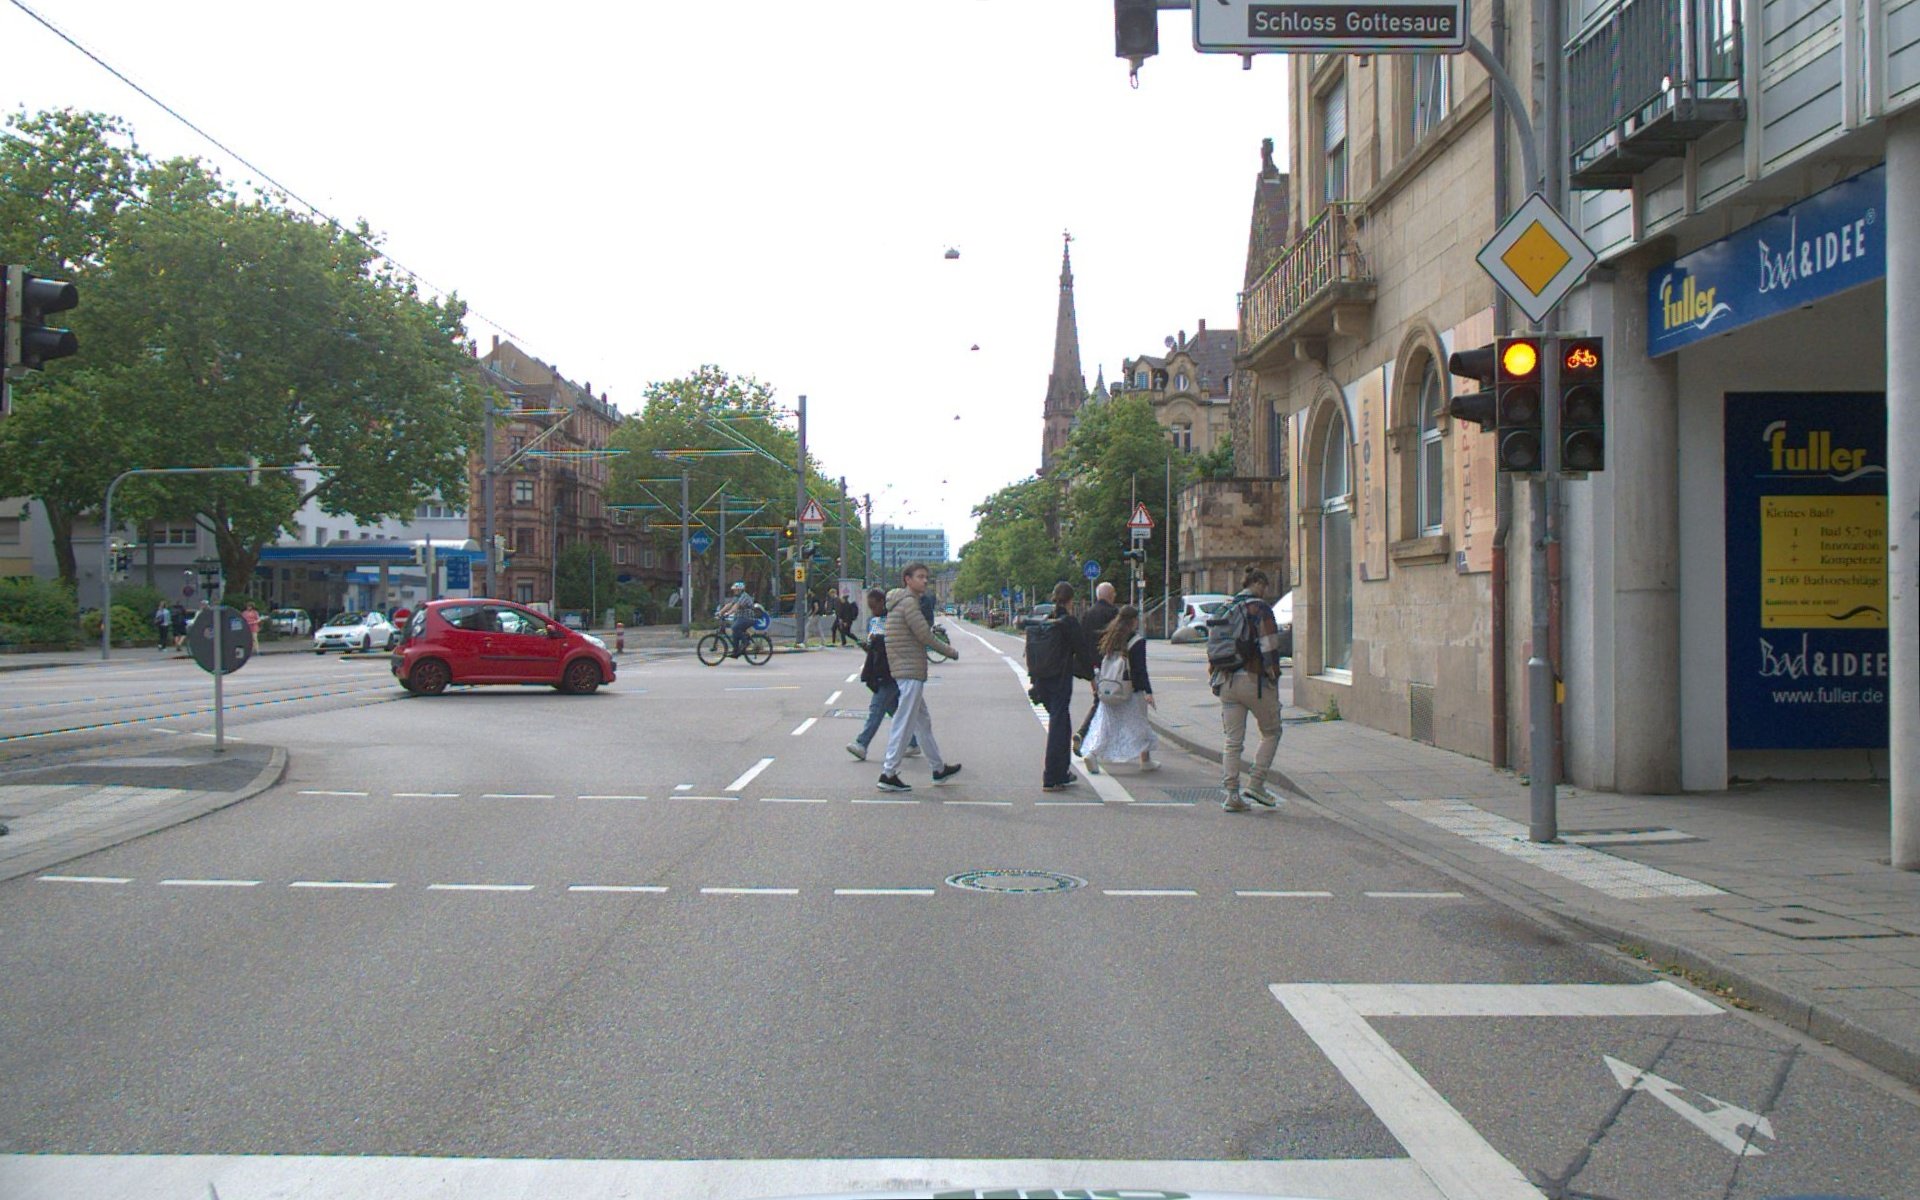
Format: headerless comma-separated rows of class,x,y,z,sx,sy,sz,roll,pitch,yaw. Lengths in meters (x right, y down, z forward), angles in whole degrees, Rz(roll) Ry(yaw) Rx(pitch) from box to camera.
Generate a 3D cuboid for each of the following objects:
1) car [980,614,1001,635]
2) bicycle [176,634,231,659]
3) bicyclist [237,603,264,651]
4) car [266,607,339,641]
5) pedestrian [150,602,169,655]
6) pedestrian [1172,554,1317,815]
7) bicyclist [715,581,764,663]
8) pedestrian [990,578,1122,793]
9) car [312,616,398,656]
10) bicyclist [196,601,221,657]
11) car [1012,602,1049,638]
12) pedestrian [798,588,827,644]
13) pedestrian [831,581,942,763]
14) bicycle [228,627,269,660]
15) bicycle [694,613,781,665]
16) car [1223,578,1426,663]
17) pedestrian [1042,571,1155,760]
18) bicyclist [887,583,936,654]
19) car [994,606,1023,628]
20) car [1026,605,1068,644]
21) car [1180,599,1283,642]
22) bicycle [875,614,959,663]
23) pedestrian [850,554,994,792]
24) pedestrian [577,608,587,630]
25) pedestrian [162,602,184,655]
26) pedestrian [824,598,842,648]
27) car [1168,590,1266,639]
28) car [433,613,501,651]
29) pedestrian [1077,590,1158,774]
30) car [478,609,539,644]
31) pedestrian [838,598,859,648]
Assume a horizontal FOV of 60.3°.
car,3.145,2.540,172.207,1.953,2.049,3.999,1,-1,-1
bicycle,-24.870,1.527,54.392,1.645,0.786,0.656,1,-1,20
bicyclist,-23.562,0.895,54.938,0.576,1.595,0.618,1,-1,-1
car,-31.851,1.141,80.229,1.953,1.557,3.999,1,0,-1
pedestrian,-27.779,0.978,57.386,0.367,1.815,0.448,1,-1,32
pedestrian,2.098,0.595,12.151,0.616,1.810,1.129,-1,-1,36
bicyclist,-5.026,0.496,37.755,0.955,1.851,0.527,1,-1,-30
pedestrian,0.794,0.673,13.507,0.616,1.681,0.993,0,-1,36
car,-21.474,1.262,58.836,1.601,1.349,3.999,1,0,-1
bicyclist,-24.657,0.945,54.282,0.522,1.815,0.470,1,-1,19
car,4.220,1.203,99.965,1.953,2.049,3.999,1,-1,-1
pedestrian,-4.456,0.476,49.921,0.834,1.683,0.508,1,-1,-3
pedestrian,-0.711,0.683,16.088,0.659,1.709,0.864,0,-1,38
bicycle,-23.515,1.428,54.693,0.511,1.035,1.936,1,-1,-1
bicycle,-5.070,0.892,37.727,1.880,1.162,0.622,1,-1,-30
car,9.096,0.518,41.197,4.805,2.001,1.972,1,-1,-27
pedestrian,1.382,0.630,16.460,0.900,1.815,0.645,0,-1,37
bicyclist,-1.187,0.453,40.244,1.023,1.713,0.641,1,-1,-21
car,3.762,1.337,128.770,1.953,1.635,4.163,-2,0,-1
car,4.730,1.342,90.507,1.953,2.049,3.999,1,-1,-1
car,10.688,0.805,65.306,3.721,1.629,2.000,1,-1,-1
bicycle,-1.049,0.928,40.307,1.910,1.155,0.731,1,-1,-22
pedestrian,-0.308,0.577,13.338,0.998,1.845,0.580,1,-1,-24
pedestrian,-26.531,1.321,116.023,0.519,1.486,0.447,2,-1,-36
pedestrian,-27.318,0.990,57.435,0.367,1.815,0.551,1,-1,25
pedestrian,-4.019,0.726,52.454,0.535,1.564,0.465,1,-1,-5
car,10.642,0.592,68.718,3.721,1.937,2.000,1,-1,-1
car,-21.519,1.365,72.353,1.856,1.585,3.835,1,0,-1
pedestrian,1.452,0.729,15.143,0.685,1.621,0.831,1,-1,7
car,-21.550,1.245,79.058,1.856,1.585,3.835,1,0,-1
pedestrian,-3.505,0.728,51.955,0.640,1.564,0.465,1,-1,-5
